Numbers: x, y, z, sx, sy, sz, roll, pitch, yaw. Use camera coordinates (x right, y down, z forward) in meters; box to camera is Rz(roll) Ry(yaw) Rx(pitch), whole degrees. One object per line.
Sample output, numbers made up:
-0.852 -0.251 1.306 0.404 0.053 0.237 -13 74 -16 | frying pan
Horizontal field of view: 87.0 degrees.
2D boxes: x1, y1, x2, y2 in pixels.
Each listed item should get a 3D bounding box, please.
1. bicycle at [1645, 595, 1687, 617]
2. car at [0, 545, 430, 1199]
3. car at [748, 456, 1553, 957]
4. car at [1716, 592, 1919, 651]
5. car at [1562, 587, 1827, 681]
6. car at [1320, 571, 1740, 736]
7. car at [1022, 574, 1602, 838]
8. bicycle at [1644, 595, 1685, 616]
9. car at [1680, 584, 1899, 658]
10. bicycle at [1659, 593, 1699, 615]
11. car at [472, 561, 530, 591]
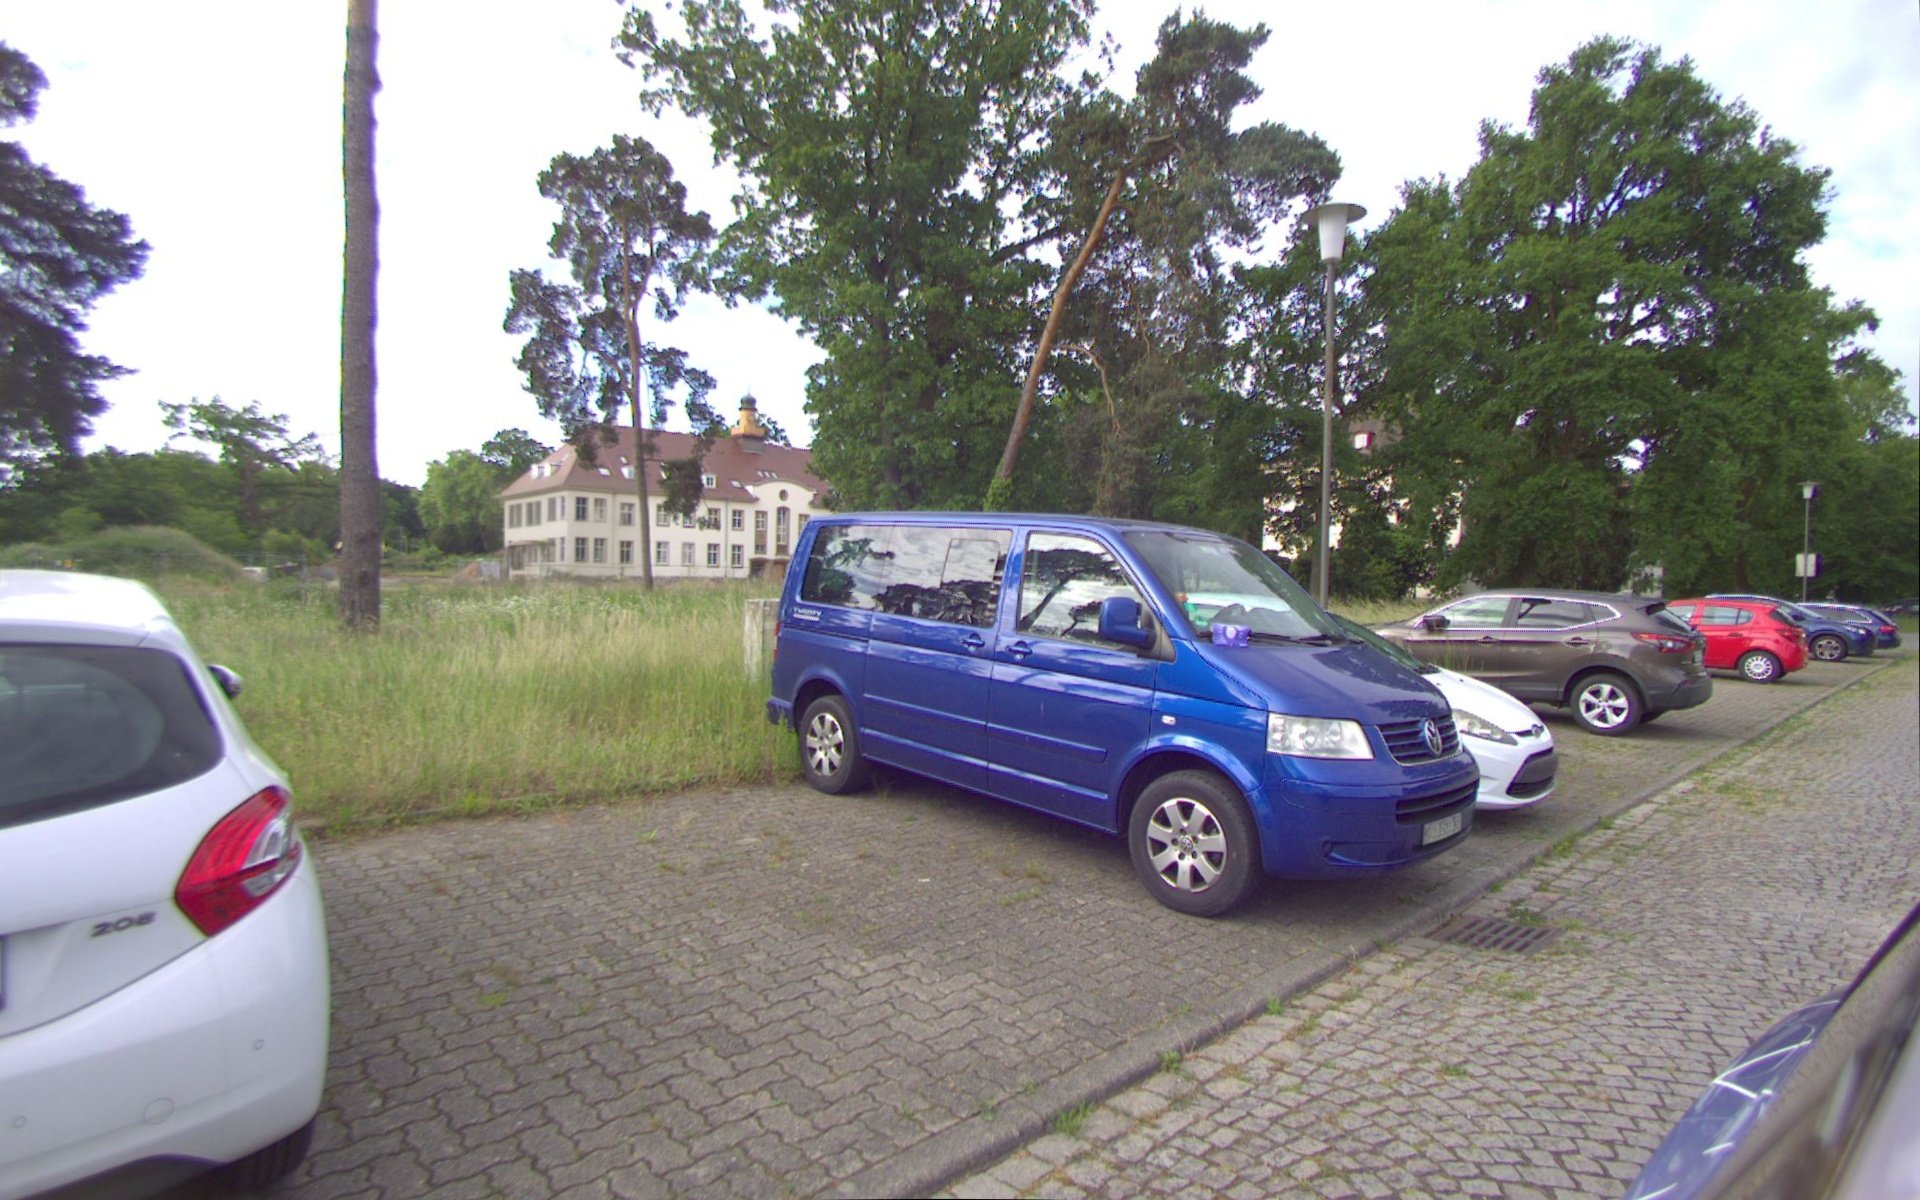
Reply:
39.205 0.346 56.190 1.837 1.185 0.485 1 0 22 | bicycle
-3.048 0.591 2.968 1.736 1.497 3.658 0 2 -43 | car
0.807 0.326 6.489 1.934 2.028 4.799 0 2 -45 | car
25.149 0.569 29.763 1.893 1.457 4.366 0 2 -41 | car
14.243 0.571 19.772 1.756 1.515 3.927 0 2 -44 | car
6.984 0.513 12.699 1.921 1.614 4.206 0 2 -45 | car
2.619 0.609 8.212 4.099 1.497 1.694 4 2 44 | car
39.889 0.311 57.303 1.841 1.185 0.484 1 0 26 | bicycle
21.716 0.480 26.612 1.856 1.643 4.248 0 2 -44 | car
42.252 0.250 59.511 1.850 1.184 0.481 4 2 38 | bicycle
-41.312 -2.122 91.006 5.644 2.674 2.249 0 0 35 | car
